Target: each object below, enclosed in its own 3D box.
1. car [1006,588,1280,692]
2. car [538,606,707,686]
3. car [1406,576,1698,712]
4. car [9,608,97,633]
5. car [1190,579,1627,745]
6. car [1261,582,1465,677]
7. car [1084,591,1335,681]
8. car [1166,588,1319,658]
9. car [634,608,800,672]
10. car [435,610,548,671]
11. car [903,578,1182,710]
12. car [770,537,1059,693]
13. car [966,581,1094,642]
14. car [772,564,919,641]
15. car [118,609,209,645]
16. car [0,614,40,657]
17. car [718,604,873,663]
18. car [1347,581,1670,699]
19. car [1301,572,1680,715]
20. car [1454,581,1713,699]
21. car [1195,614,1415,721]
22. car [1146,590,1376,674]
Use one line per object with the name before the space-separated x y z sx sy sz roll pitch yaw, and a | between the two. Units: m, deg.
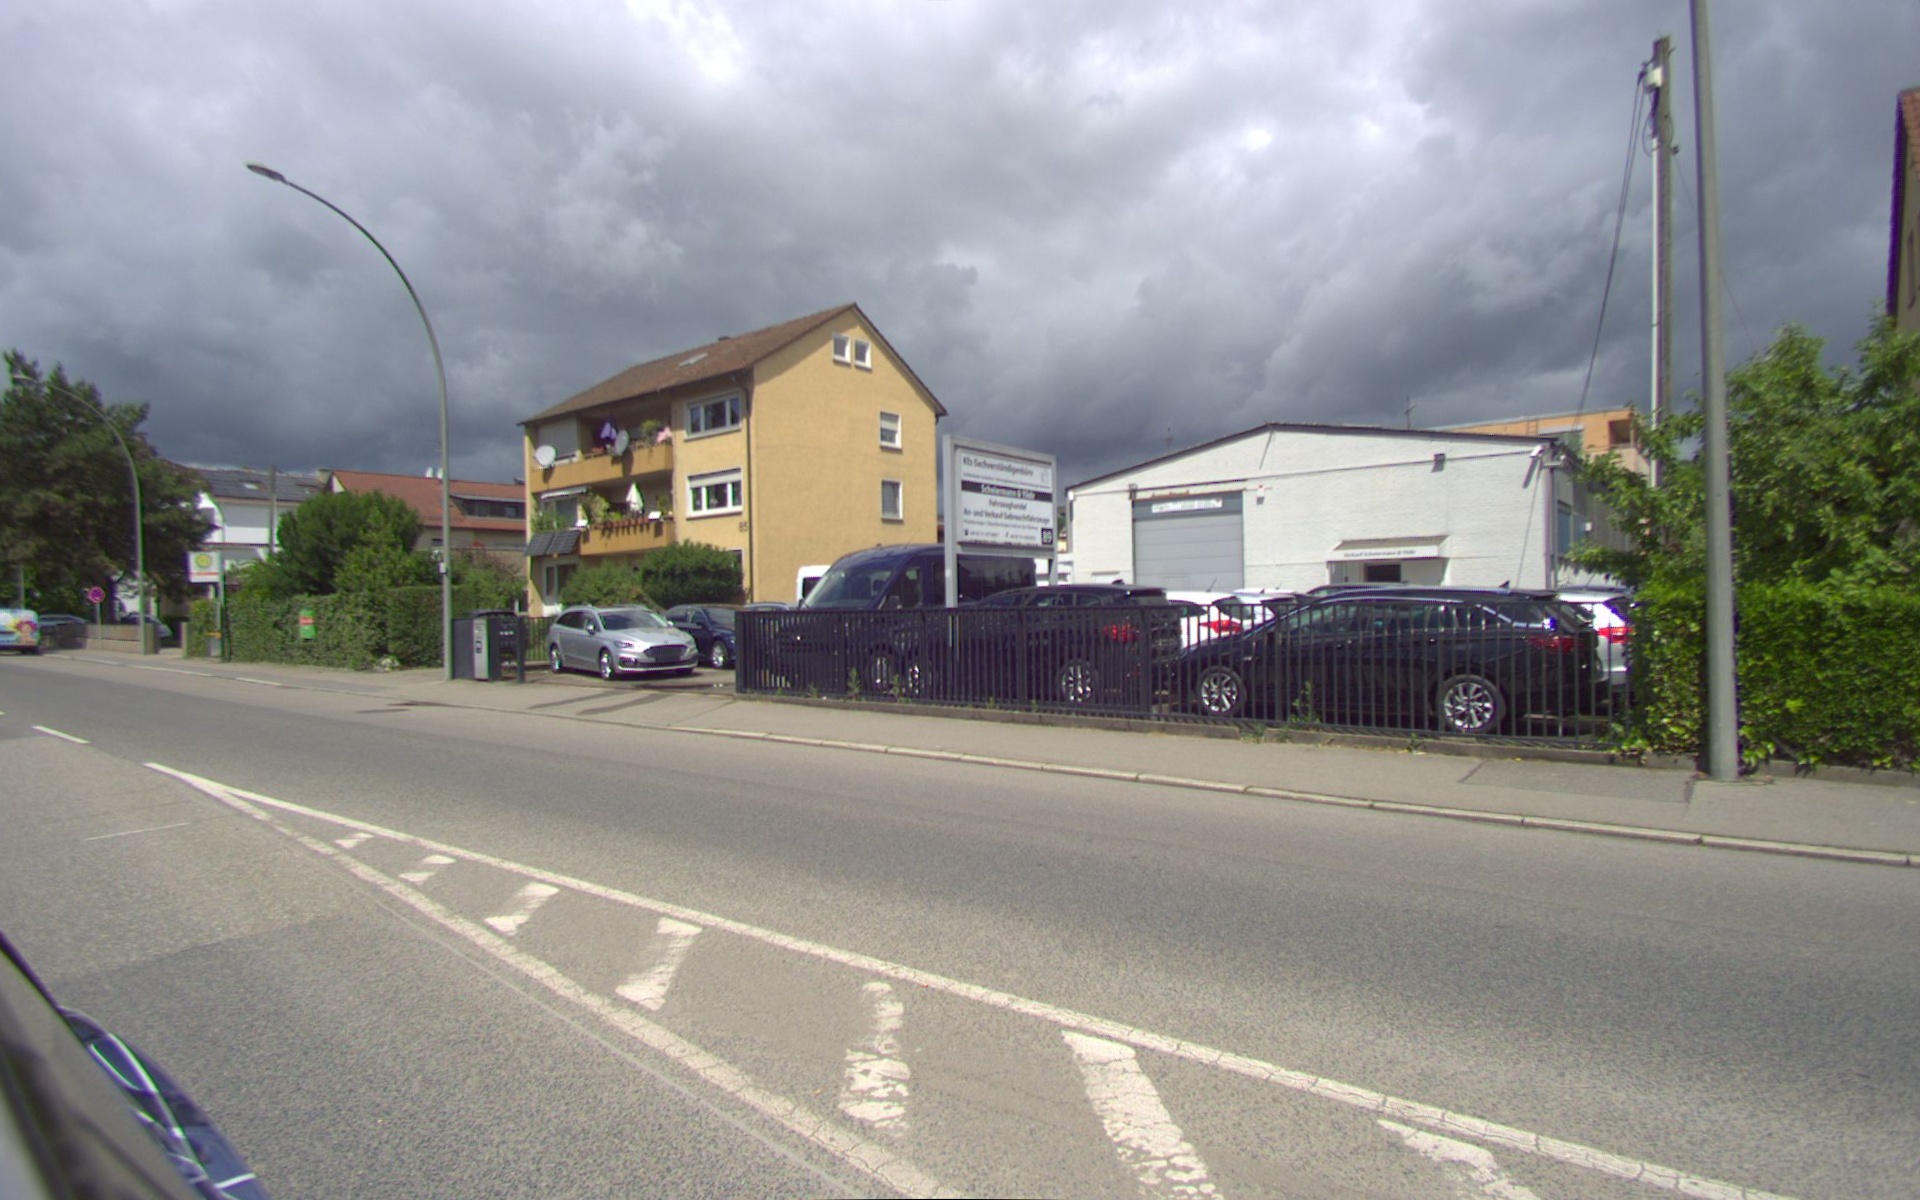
car | 2.863 0.576 16.314 3.998 1.470 1.795 -1 0 41
car | -7.282 0.895 21.570 1.861 1.470 4.356 -2 1 -41
car | 10.005 0.668 17.235 3.998 2.029 1.973 -1 0 41
car | -68.435 1.526 76.417 2.216 1.691 4.676 -1 0 39
car | 4.802 0.570 11.123 4.040 1.494 1.840 -1 0 40
car | 9.380 0.639 23.697 3.998 2.029 1.973 -1 0 41
car | 4.347 0.579 17.988 3.998 1.423 1.716 -1 0 41
car | 8.451 0.656 30.422 3.998 1.941 1.973 -1 0 41
car | -5.793 0.892 23.891 3.998 1.352 1.861 -1 0 41
car | -14.083 1.158 30.377 3.520 1.678 1.807 -1 0 41
car | 1.108 0.552 14.435 3.619 1.633 1.790 -1 0 41
car | -0.646 0.218 18.355 2.104 2.402 5.293 -1 0 42
car | 2.365 0.381 34.624 3.998 1.941 1.973 -1 0 41
car | -3.300 0.076 28.720 3.998 2.029 1.973 -1 0 41
car | -46.368 1.573 58.940 3.954 2.029 1.995 -1 0 9
car | -39.267 1.441 41.473 3.995 1.693 1.708 -1 0 39
car | -4.325 0.829 26.288 3.998 1.383 1.859 -1 0 41
car | 8.278 0.543 15.443 3.998 1.560 1.973 -1 0 41
car | 6.737 0.485 13.058 3.998 1.552 1.973 -1 0 41
car | 11.960 0.700 19.536 3.998 2.029 1.973 -1 0 41
car | 7.291 1.332 21.559 3.998 2.029 1.973 -1 0 41
car | 5.872 0.584 19.982 3.998 1.498 1.742 -1 0 41
